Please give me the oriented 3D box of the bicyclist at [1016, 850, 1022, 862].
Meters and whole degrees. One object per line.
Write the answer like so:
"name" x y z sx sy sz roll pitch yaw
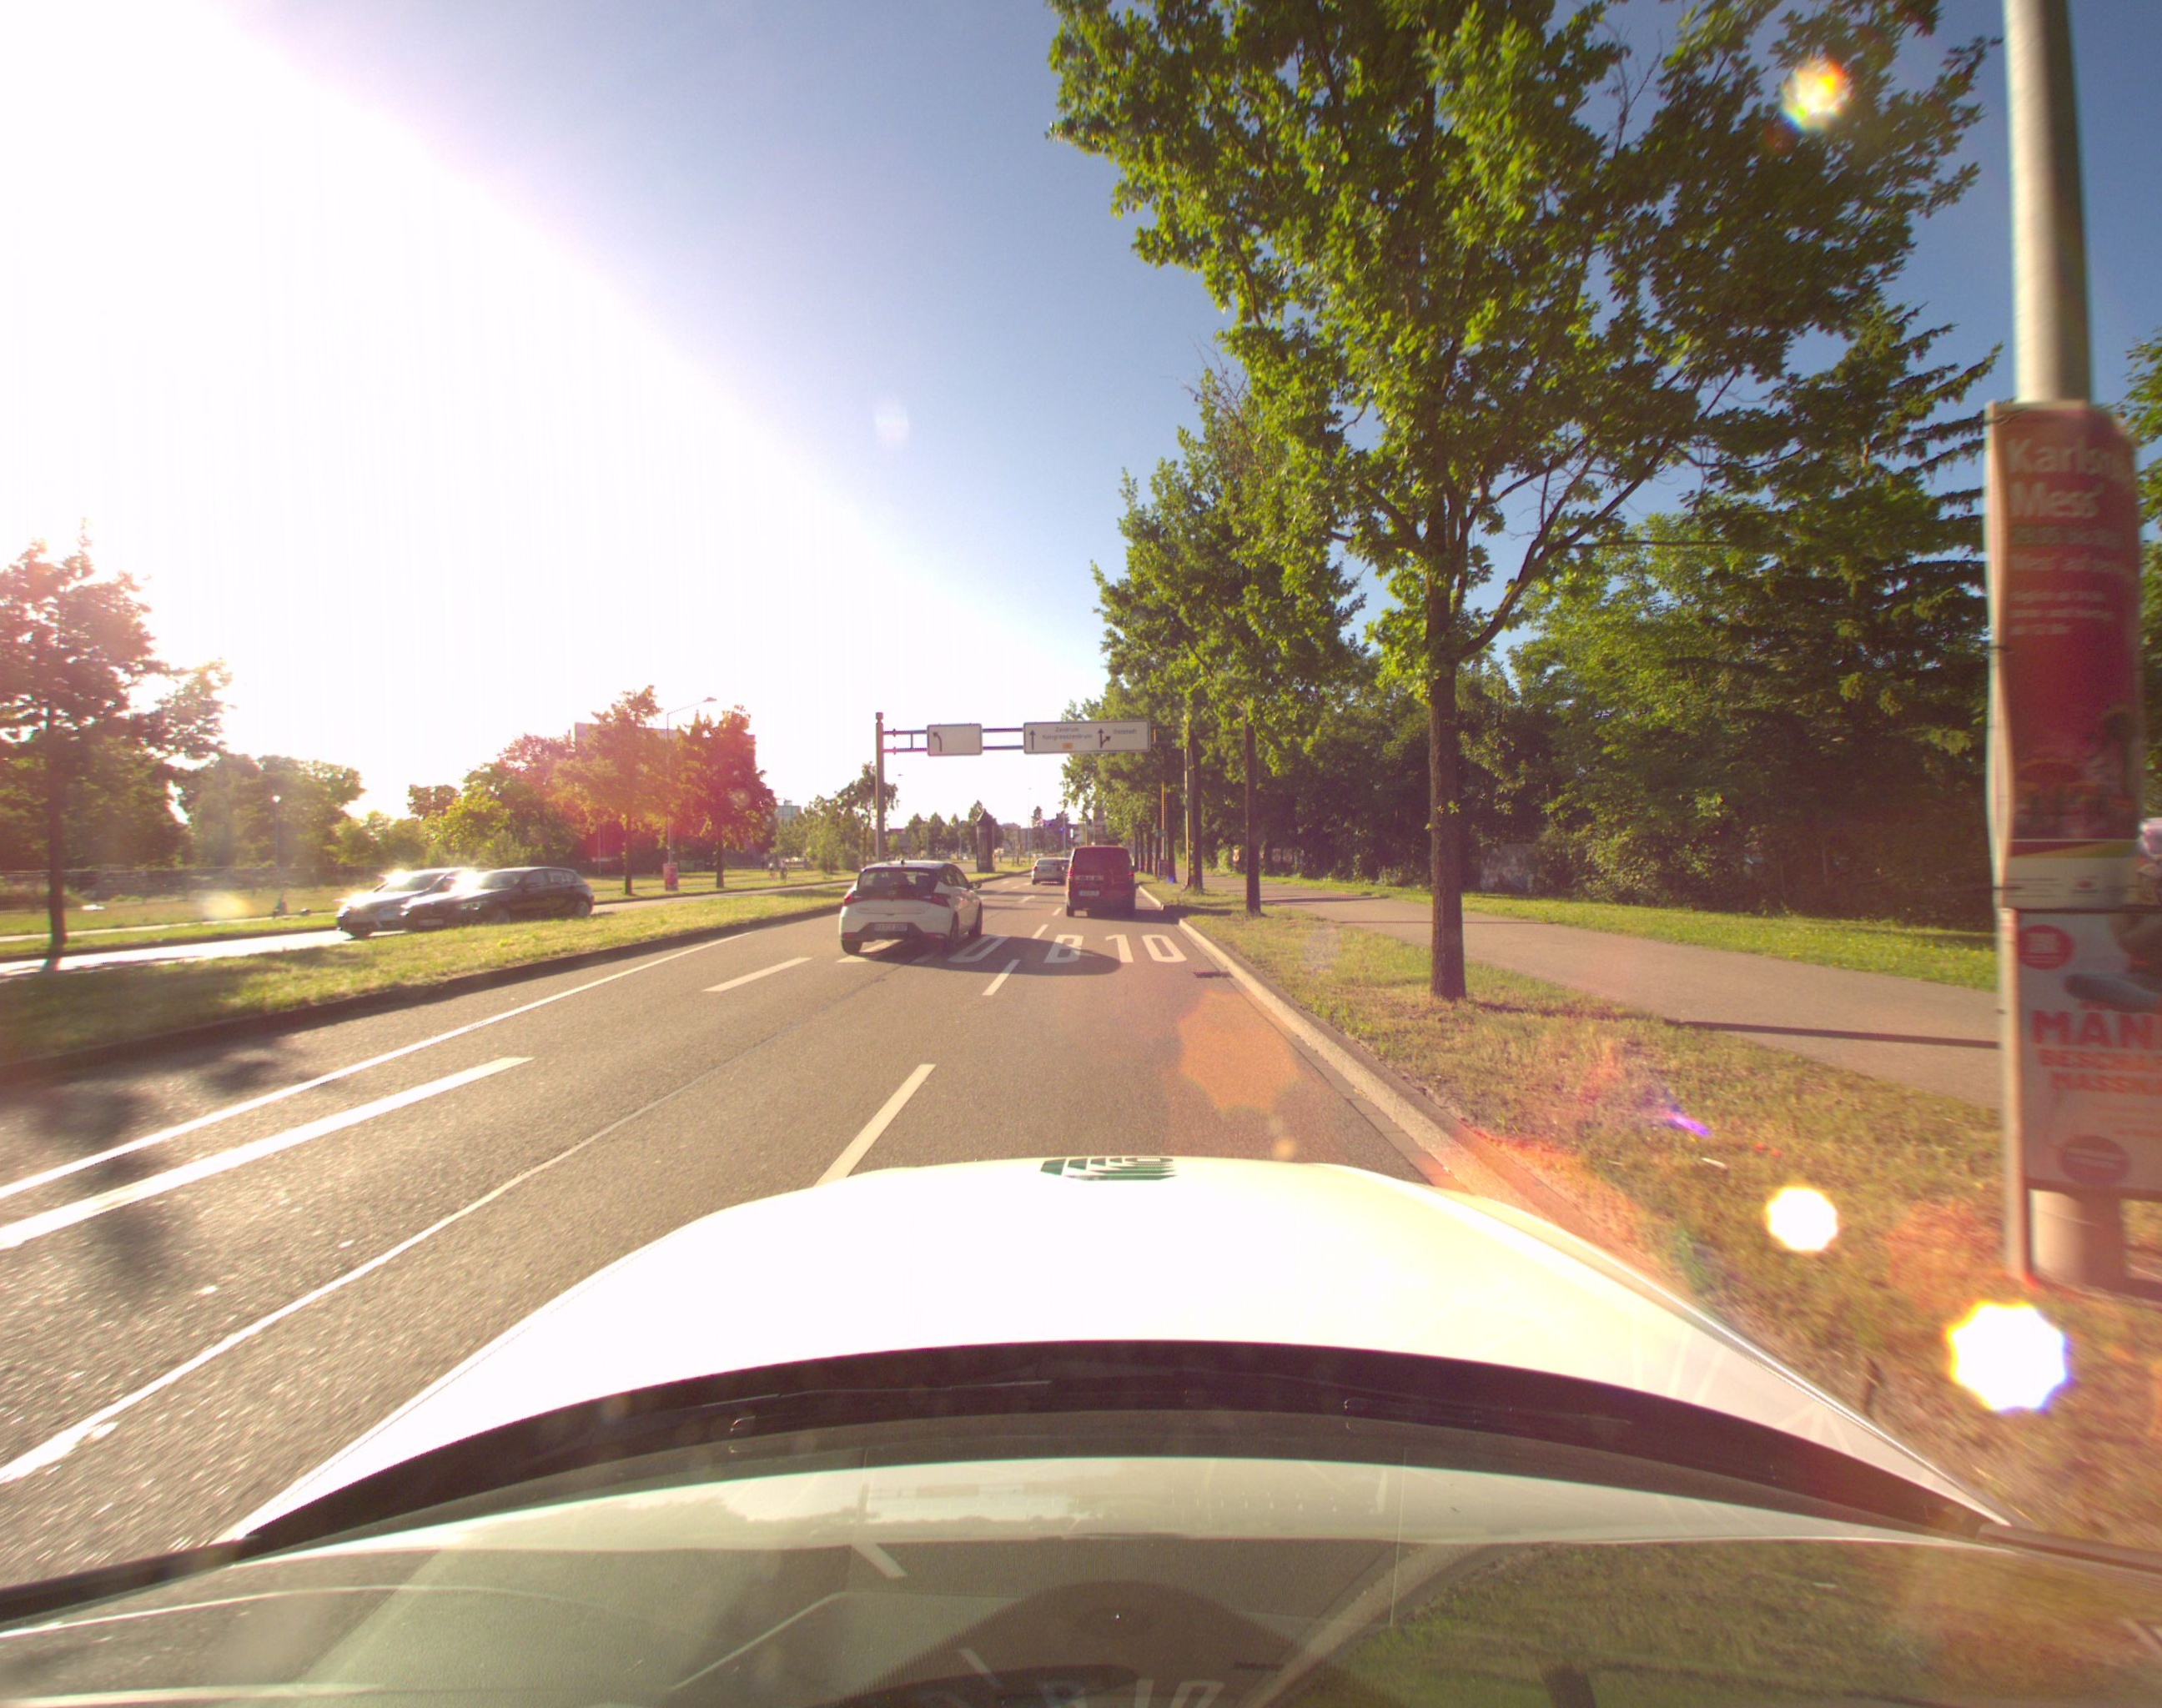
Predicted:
"bicyclist" -7.711 0.292 101.387 0.601 1.468 0.517 -1 0 0

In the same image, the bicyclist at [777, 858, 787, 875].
"bicyclist" -24.983 1.064 68.038 0.560 1.392 0.747 -1 0 0

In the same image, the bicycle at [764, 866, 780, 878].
"bicycle" -25.982 1.526 68.568 0.485 1.003 2.096 -1 0 1

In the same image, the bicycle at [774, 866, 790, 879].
"bicycle" -24.972 1.517 68.013 0.568 1.003 2.096 -1 0 0

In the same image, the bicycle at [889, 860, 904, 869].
"bicycle" -22.984 1.314 101.481 1.714 1.107 0.607 -1 0 14

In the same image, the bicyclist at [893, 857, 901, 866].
"bicyclist" -22.977 0.948 101.470 0.729 1.107 0.607 -1 0 14

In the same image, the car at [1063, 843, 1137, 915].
"car" 0.516 0.588 21.850 1.800 1.759 4.007 0 0 1

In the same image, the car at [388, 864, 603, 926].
"car" -12.944 0.851 18.381 1.822 1.111 4.173 -1 0 0

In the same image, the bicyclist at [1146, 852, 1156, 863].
"bicyclist" 8.955 0.447 103.715 0.975 1.249 0.781 -1 0 -31

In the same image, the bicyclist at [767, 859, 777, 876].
"bicyclist" -25.991 1.097 68.461 0.480 1.395 0.844 -1 0 0

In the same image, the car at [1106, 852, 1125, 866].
"car" 4.153 0.614 97.376 1.761 1.625 3.936 0 0 9

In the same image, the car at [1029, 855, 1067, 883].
"car" -1.784 0.787 45.675 1.834 1.456 4.164 0 0 2

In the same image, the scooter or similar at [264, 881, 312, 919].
"scooter or similar" -25.895 1.495 26.615 0.230 1.149 1.328 -1 0 2

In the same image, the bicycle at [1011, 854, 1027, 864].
"bicycle" -7.711 0.587 101.388 1.952 1.166 0.517 -1 0 0

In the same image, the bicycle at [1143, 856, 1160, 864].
"bicycle" 8.944 0.751 103.708 2.133 0.958 0.781 -1 0 -31

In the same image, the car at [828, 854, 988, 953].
"car" -2.792 0.737 14.086 1.771 1.409 4.076 0 1 1

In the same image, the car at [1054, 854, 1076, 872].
"car" -1.336 0.763 67.473 1.655 1.398 3.560 -1 0 1

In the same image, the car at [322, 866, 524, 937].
"car" -16.080 1.093 20.208 1.683 1.476 4.048 -1 0 0

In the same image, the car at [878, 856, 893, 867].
"car" -34.827 1.382 144.981 1.644 1.876 3.963 -1 0 -28
